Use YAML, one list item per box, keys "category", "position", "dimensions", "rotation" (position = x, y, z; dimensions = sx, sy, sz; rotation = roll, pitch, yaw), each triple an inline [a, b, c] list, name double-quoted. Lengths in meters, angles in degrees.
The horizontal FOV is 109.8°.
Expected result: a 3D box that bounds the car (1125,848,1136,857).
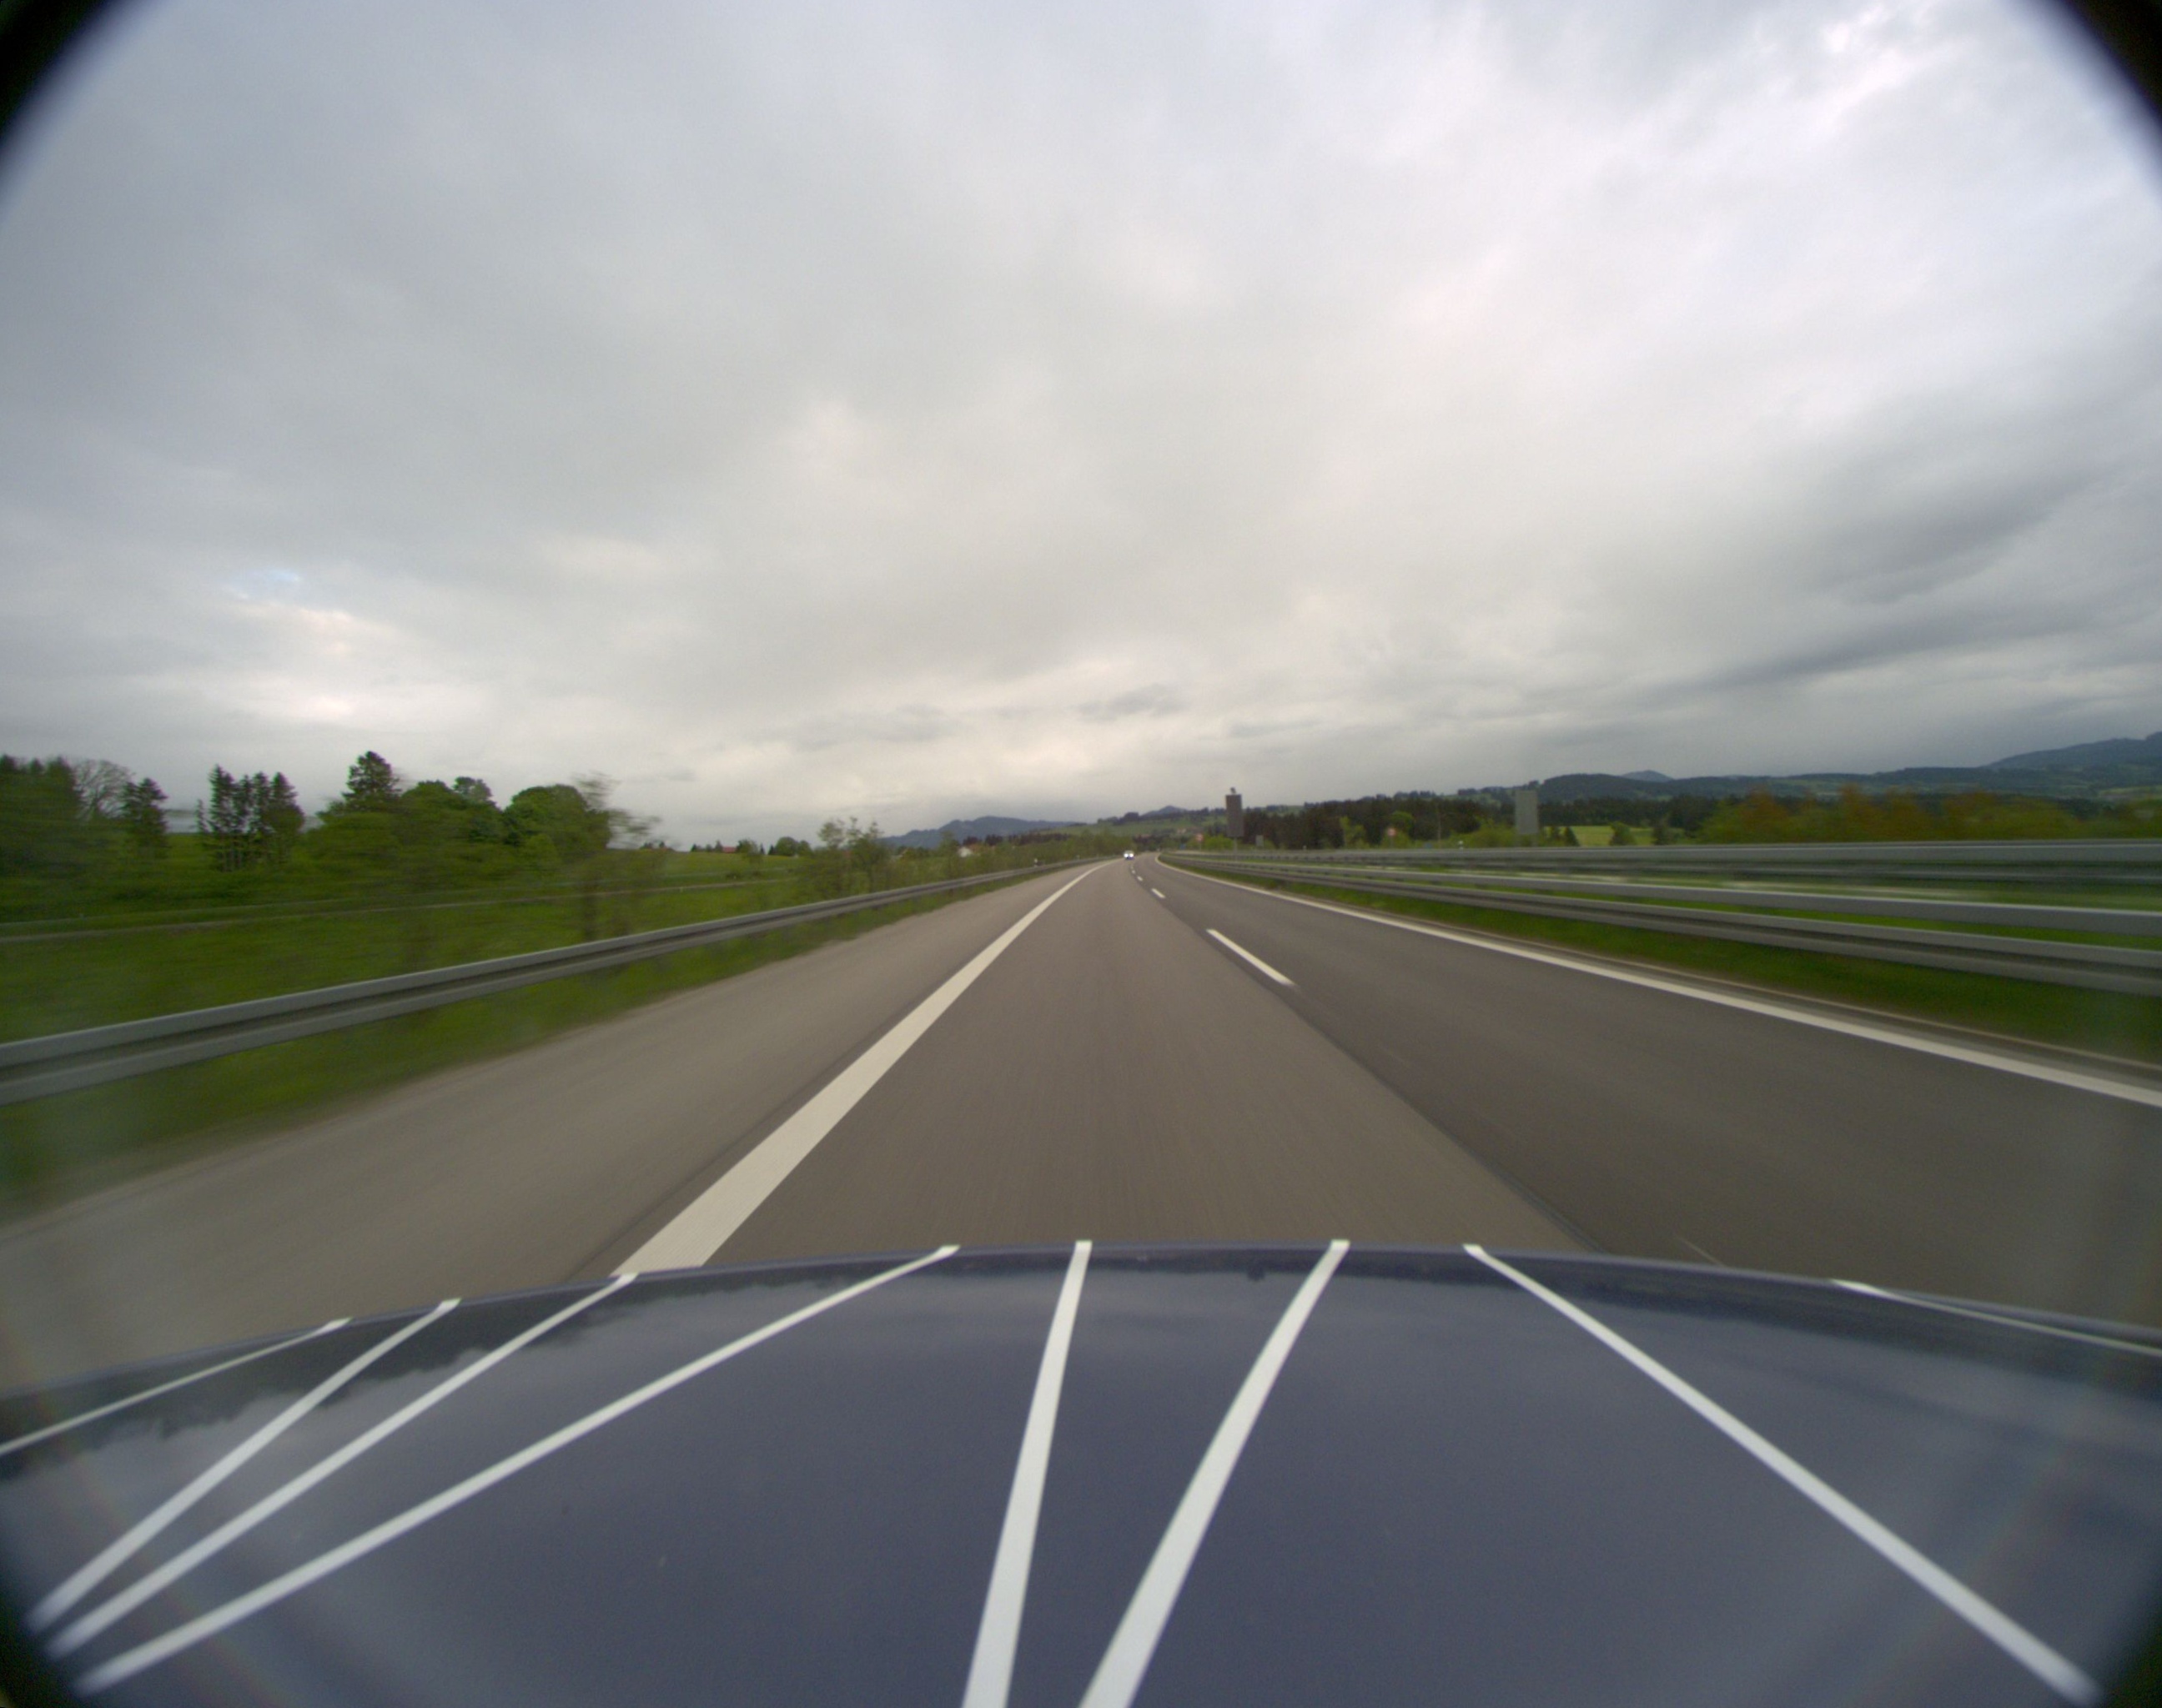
- category: "car"
  position: [10.595, -0.284, 162.795]
  dimensions: [2.020, 1.899, 4.223]
  rotation: [-2, 0, 6]
